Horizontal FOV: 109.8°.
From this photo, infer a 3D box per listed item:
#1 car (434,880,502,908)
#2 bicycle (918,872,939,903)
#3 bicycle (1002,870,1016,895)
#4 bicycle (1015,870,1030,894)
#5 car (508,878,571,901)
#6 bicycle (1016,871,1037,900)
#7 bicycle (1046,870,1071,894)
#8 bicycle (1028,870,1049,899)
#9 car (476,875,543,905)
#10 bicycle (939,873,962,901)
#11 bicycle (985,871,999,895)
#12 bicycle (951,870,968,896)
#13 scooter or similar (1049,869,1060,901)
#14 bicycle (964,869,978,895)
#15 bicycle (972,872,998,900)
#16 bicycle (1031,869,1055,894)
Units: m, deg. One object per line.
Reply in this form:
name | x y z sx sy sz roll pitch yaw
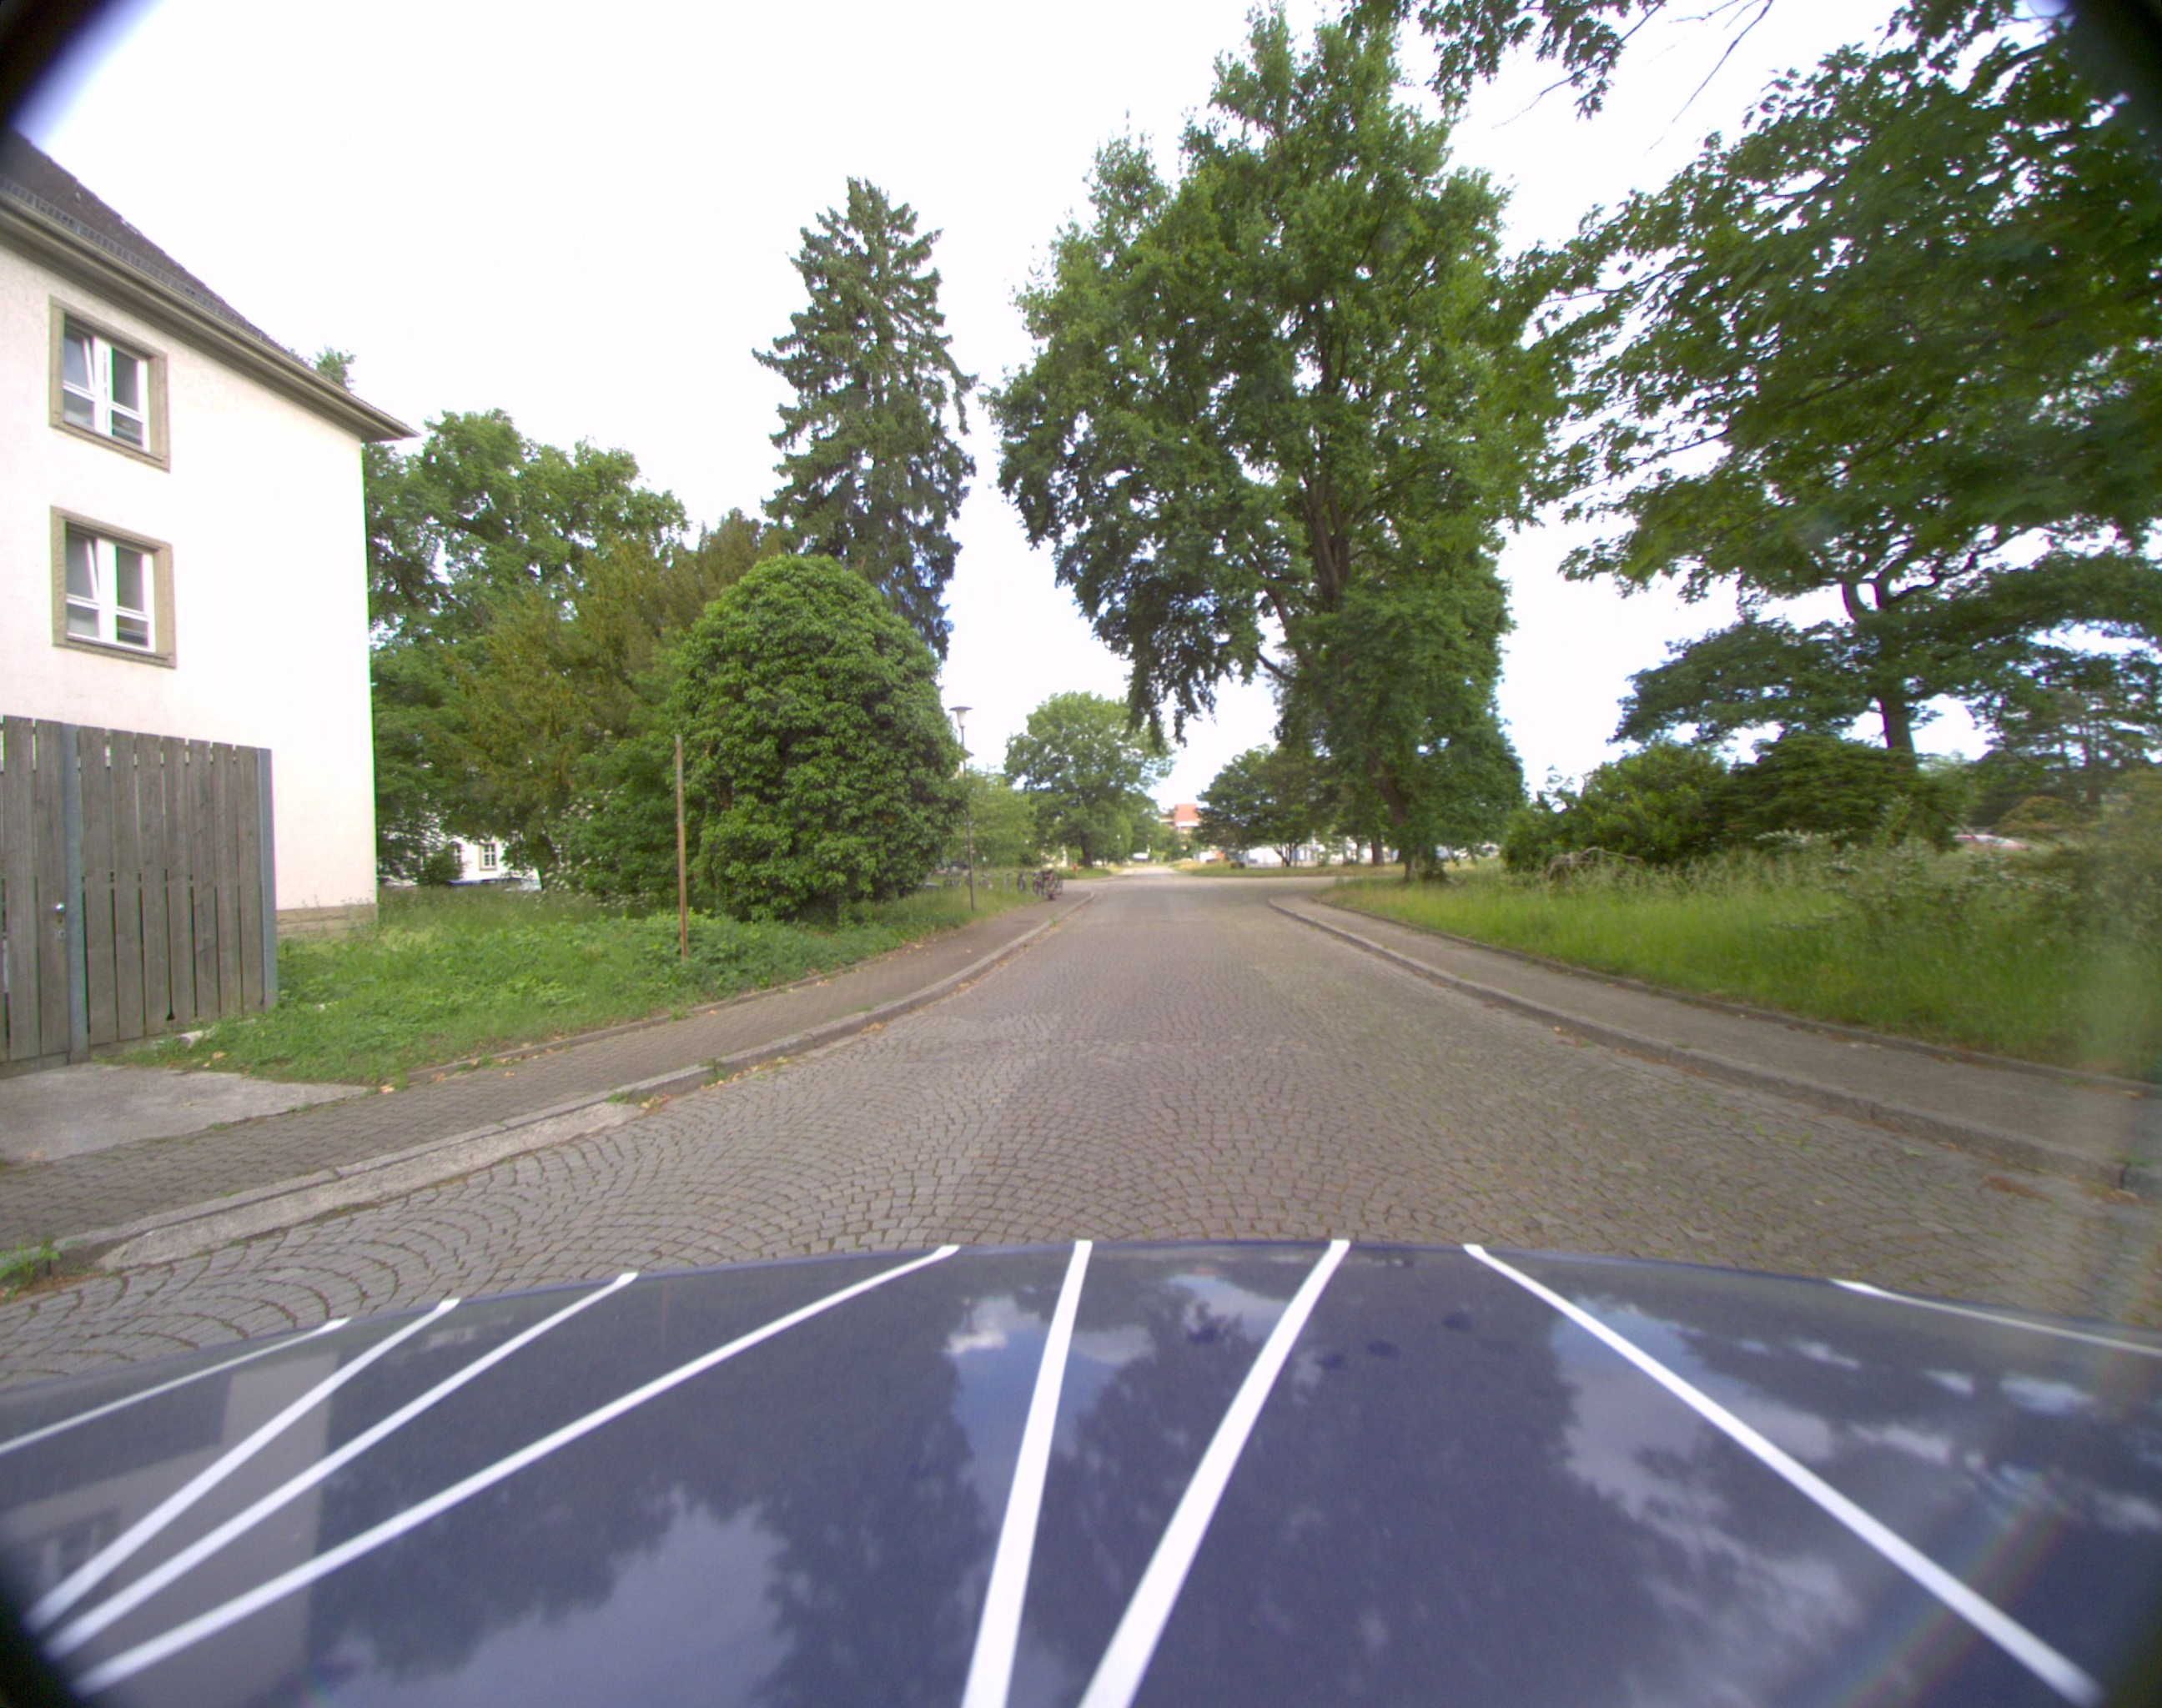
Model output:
car | -38.125 2.451 47.374 1.383 1.555 3.250 -2 0 5
bicycle | -6.268 1.355 31.214 0.551 1.164 1.754 -2 0 -3
bicycle | -3.294 1.286 34.642 0.478 1.002 1.665 -2 1 -11
bicycle | -2.674 1.263 34.695 0.478 1.002 1.665 -2 1 -11
car | -32.725 2.107 46.009 1.295 1.210 3.250 -2 0 5
bicycle | -2.230 1.257 31.092 0.551 1.108 1.803 -2 0 -12
bicycle | -1.053 1.268 35.045 0.478 1.002 1.619 -3 2 -25
bicycle | -1.761 1.242 31.256 0.551 1.108 1.768 -2 0 -12
car | -34.950 2.186 46.554 1.438 1.651 3.250 -2 0 5
bicycle | -5.248 1.316 30.490 0.552 1.059 1.751 -2 0 -20
bicycle | -4.070 1.316 34.629 0.478 1.002 1.665 -2 1 -11
bicycle | -5.497 1.283 34.327 0.478 1.105 1.763 -2 0 -16
scooter or similar | -1.043 1.203 29.951 0.357 1.202 1.137 -2 0 1
bicycle | -4.970 1.261 34.235 0.478 1.105 1.763 -2 0 -11
bicycle | -3.914 1.270 30.853 0.619 1.059 1.823 -2 0 -20
bicycle | -1.756 1.274 35.136 0.478 1.068 1.619 -3 2 -25
